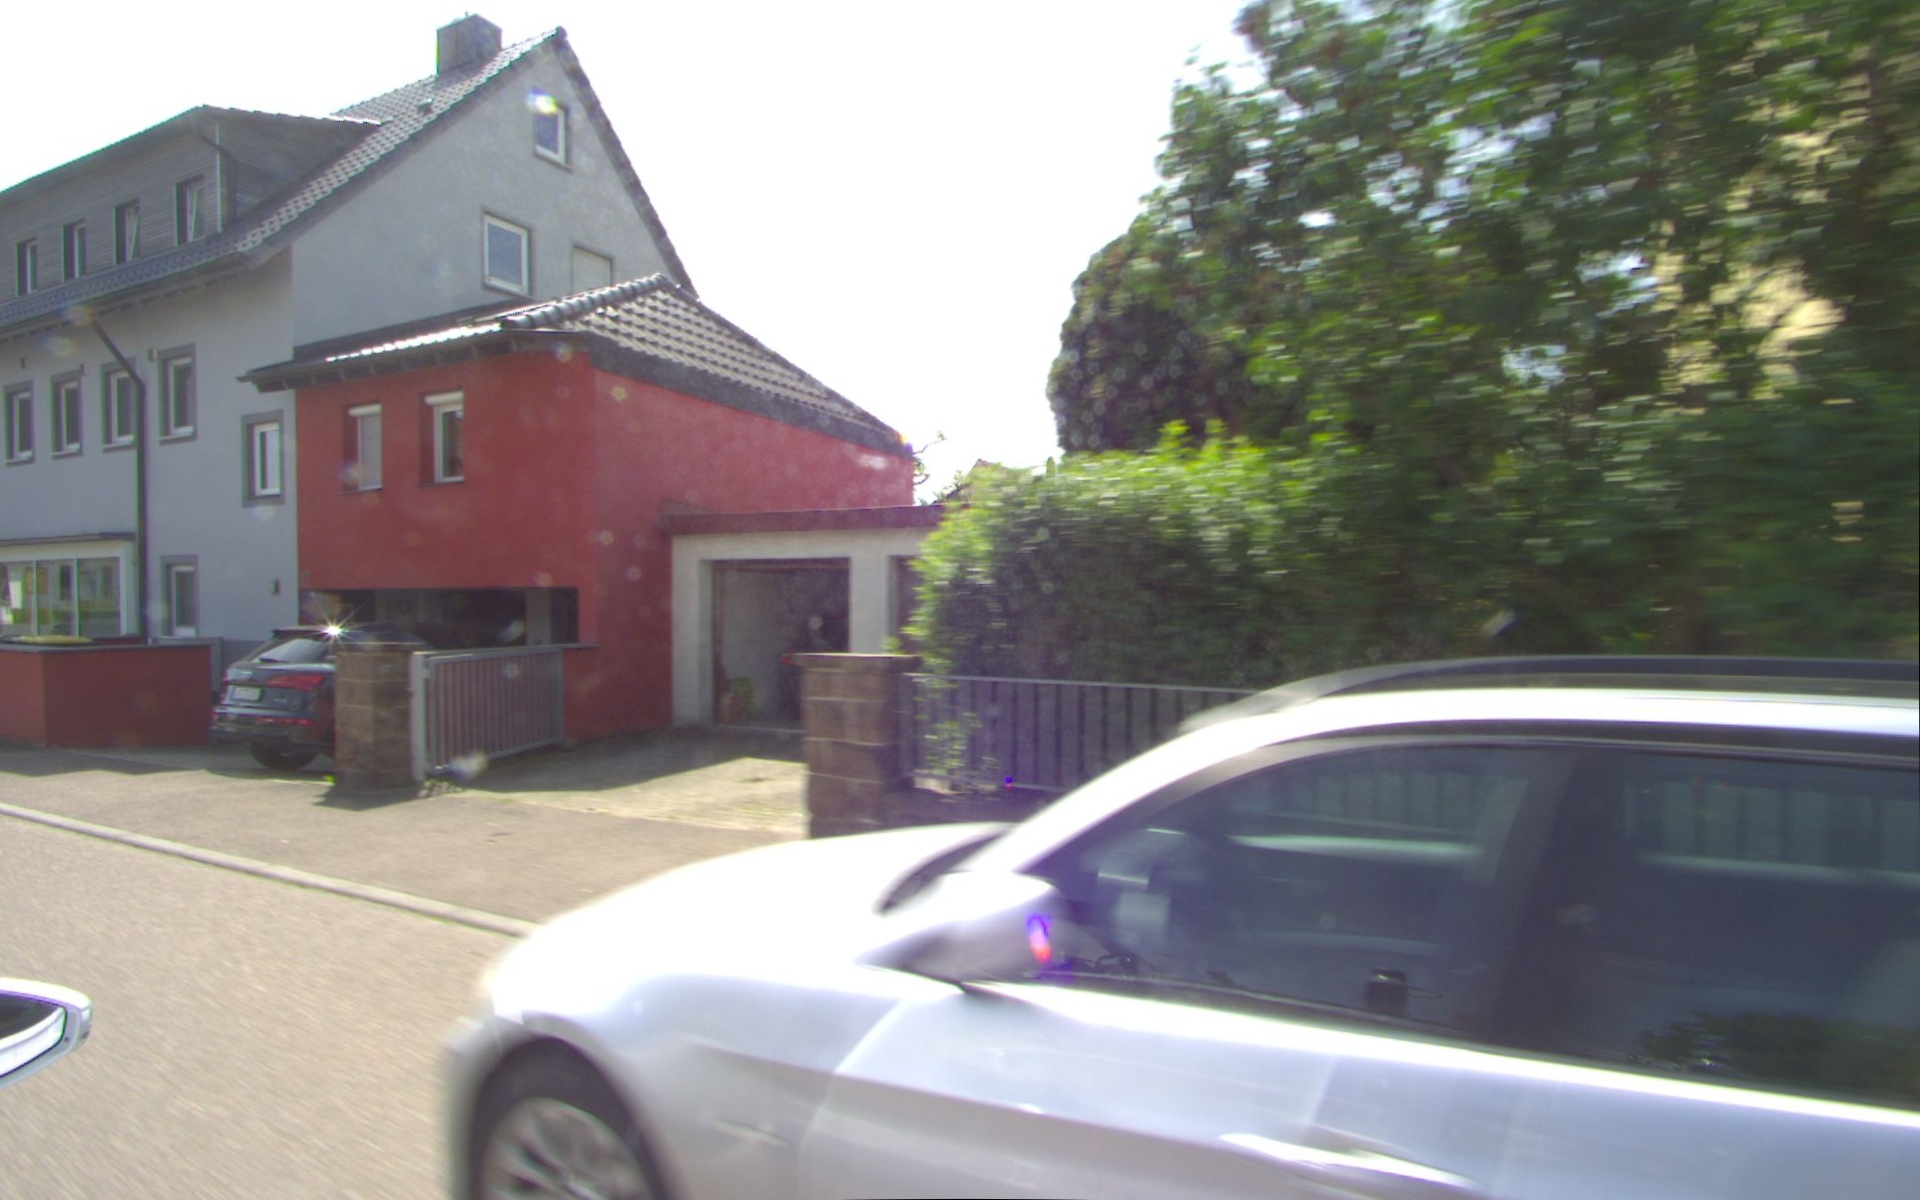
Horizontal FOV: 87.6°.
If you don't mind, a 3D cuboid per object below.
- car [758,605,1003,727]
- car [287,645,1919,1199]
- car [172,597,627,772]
[{"bbox_3d":[-1.021,0.847,14.780,1.761,1.485,3.950,1,1,28],"label":"car"},{"bbox_3d":[0.787,0.844,2.054,4.352,1.439,1.751,0,-2,28],"label":"car"},{"bbox_3d":[-6.385,1.060,12.024,1.848,1.687,4.371,0,-6,28],"label":"car"}]
